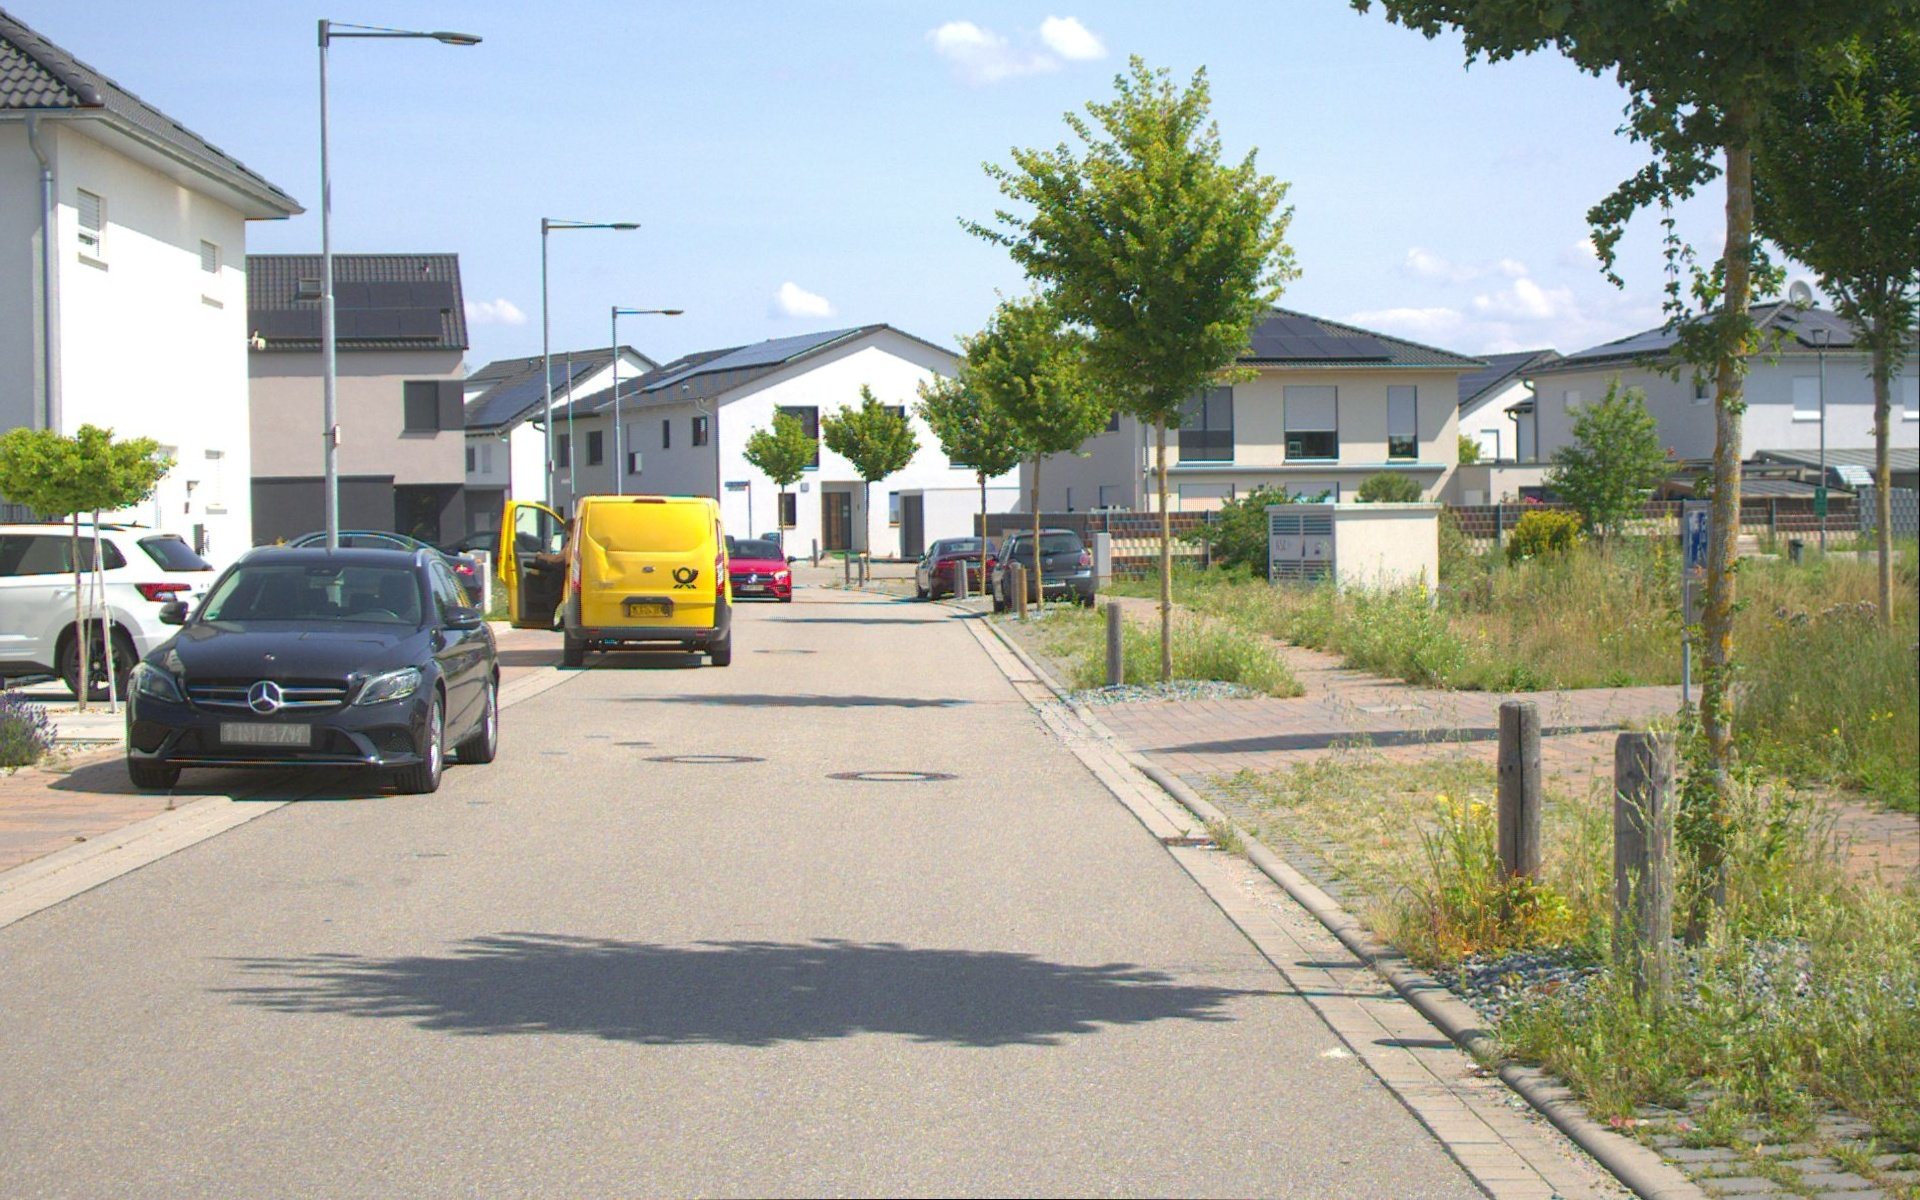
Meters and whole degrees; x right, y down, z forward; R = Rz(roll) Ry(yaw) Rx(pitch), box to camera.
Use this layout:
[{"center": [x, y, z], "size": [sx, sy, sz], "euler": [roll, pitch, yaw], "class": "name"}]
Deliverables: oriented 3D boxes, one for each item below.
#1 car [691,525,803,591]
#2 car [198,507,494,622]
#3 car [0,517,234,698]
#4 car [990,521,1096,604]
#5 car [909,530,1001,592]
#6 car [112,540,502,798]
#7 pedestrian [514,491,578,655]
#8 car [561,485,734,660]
[{"center": [-4.874, -0.932, 78.101], "size": [1.993, 1.426, 4.702], "euler": [-1, 0, -10], "class": "car"}, {"center": [-9.326, -0.541, 52.141], "size": [4.159, 1.499, 1.816], "euler": [3, 0, -17], "class": "car"}, {"center": [-8.966, 0.034, 31.773], "size": [4.069, 1.576, 1.784], "euler": [1, 2, 5], "class": "car"}, {"center": [1.458, -0.646, 61.627], "size": [1.639, 1.398, 3.811], "euler": [-1, 0, -2], "class": "car"}, {"center": [-0.149, -0.901, 80.222], "size": [1.627, 1.318, 3.834], "euler": [-1, -1, -8], "class": "car"}, {"center": [-3.984, 0.357, 21.599], "size": [1.745, 1.400, 4.160], "euler": [1, 1, -2], "class": "car"}, {"center": [-5.146, -0.333, 42.791], "size": [0.651, 2.007, 1.124], "euler": [-1, 0, -2], "class": "pedestrian"}, {"center": [-3.767, -0.325, 41.483], "size": [1.941, 1.975, 4.218], "euler": [-1, 0, -5], "class": "car"}]
